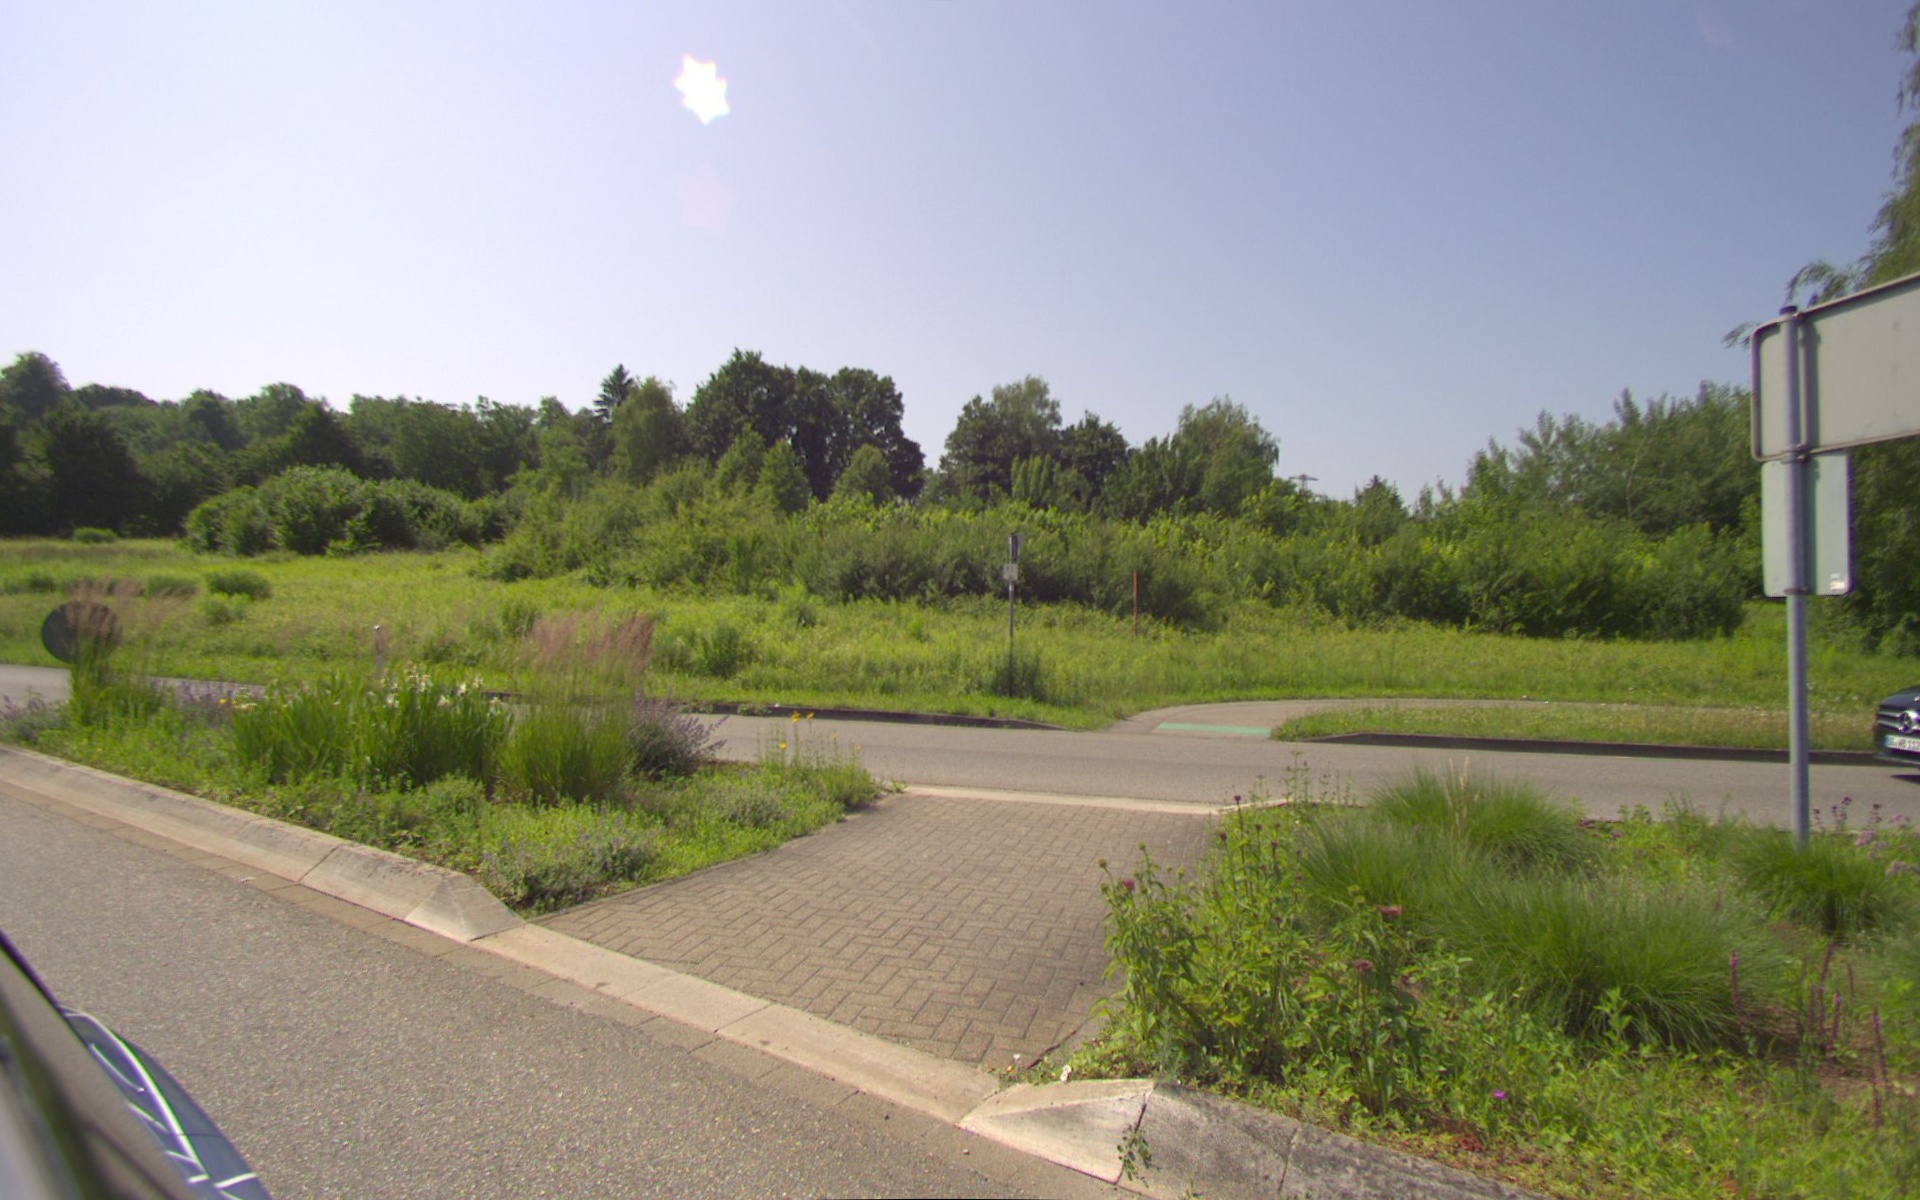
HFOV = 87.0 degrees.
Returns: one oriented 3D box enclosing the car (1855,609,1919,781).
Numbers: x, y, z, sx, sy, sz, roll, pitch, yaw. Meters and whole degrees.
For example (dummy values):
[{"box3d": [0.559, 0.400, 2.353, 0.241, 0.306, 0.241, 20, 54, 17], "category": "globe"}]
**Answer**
[{"box3d": [10.673, 0.875, 8.653, 4.166, 1.542, 1.752, 1, -3, 10], "category": "car"}]
